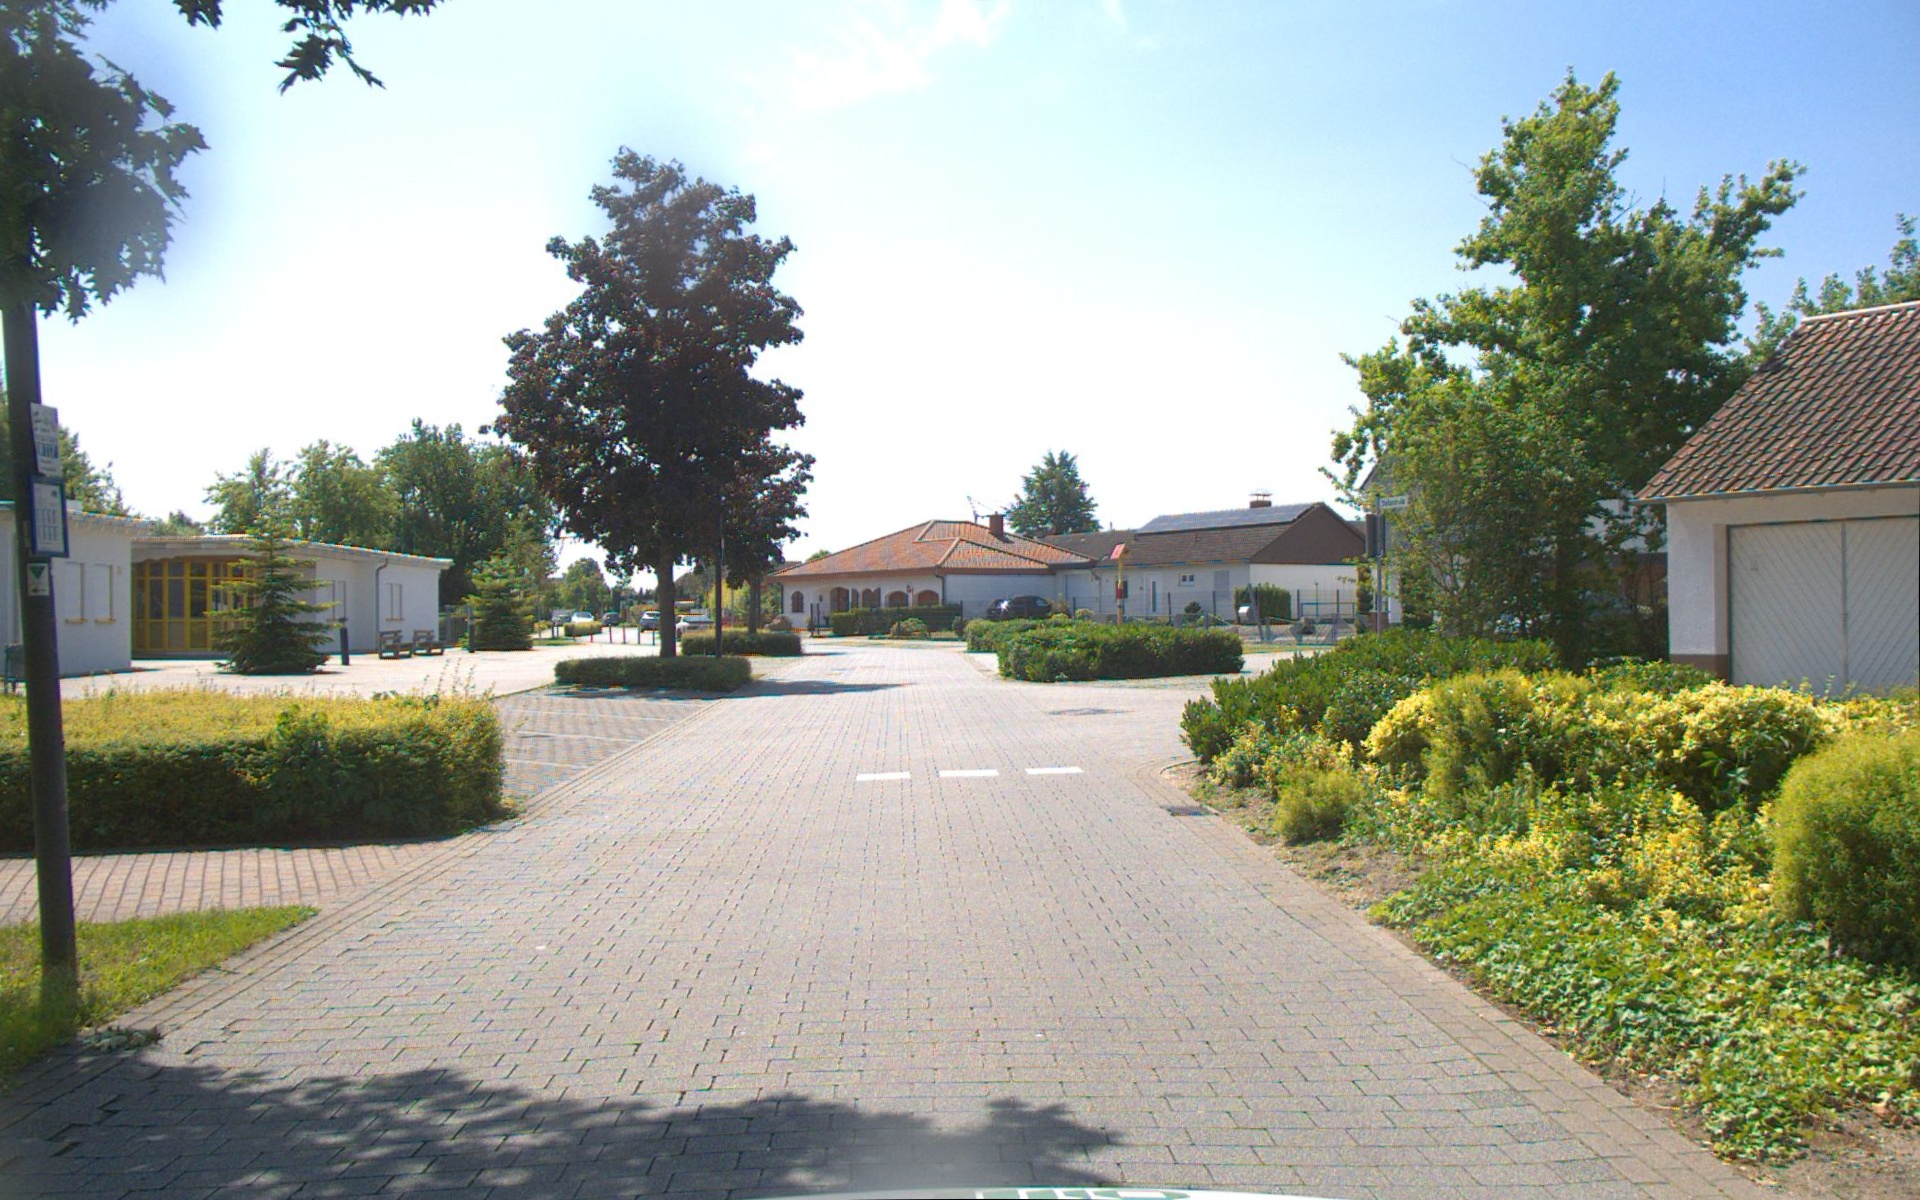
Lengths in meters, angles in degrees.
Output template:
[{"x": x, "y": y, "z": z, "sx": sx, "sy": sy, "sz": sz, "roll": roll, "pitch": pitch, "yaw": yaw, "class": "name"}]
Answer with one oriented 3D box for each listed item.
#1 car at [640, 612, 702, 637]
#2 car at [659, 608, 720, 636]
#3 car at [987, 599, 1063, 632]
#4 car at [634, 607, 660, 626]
[{"x": -15.692, "y": 1.305, "z": 89.673, "sx": 1.975, "sy": 1.311, "sz": 3.955, "roll": 0, "pitch": -1, "yaw": -33, "class": "car"}, {"x": -12.838, "y": 1.033, "z": 78.284, "sx": 1.599, "sy": 1.311, "sz": 3.516, "roll": 0, "pitch": -1, "yaw": -33, "class": "car"}, {"x": 3.286, "y": 0.775, "z": 83.195, "sx": 1.823, "sy": 1.569, "sz": 3.811, "roll": -1, "pitch": -1, "yaw": 43, "class": "car"}, {"x": -21.581, "y": 1.124, "z": 114.043, "sx": 1.584, "sy": 1.311, "sz": 3.549, "roll": -1, "pitch": 0, "yaw": -9, "class": "car"}]
